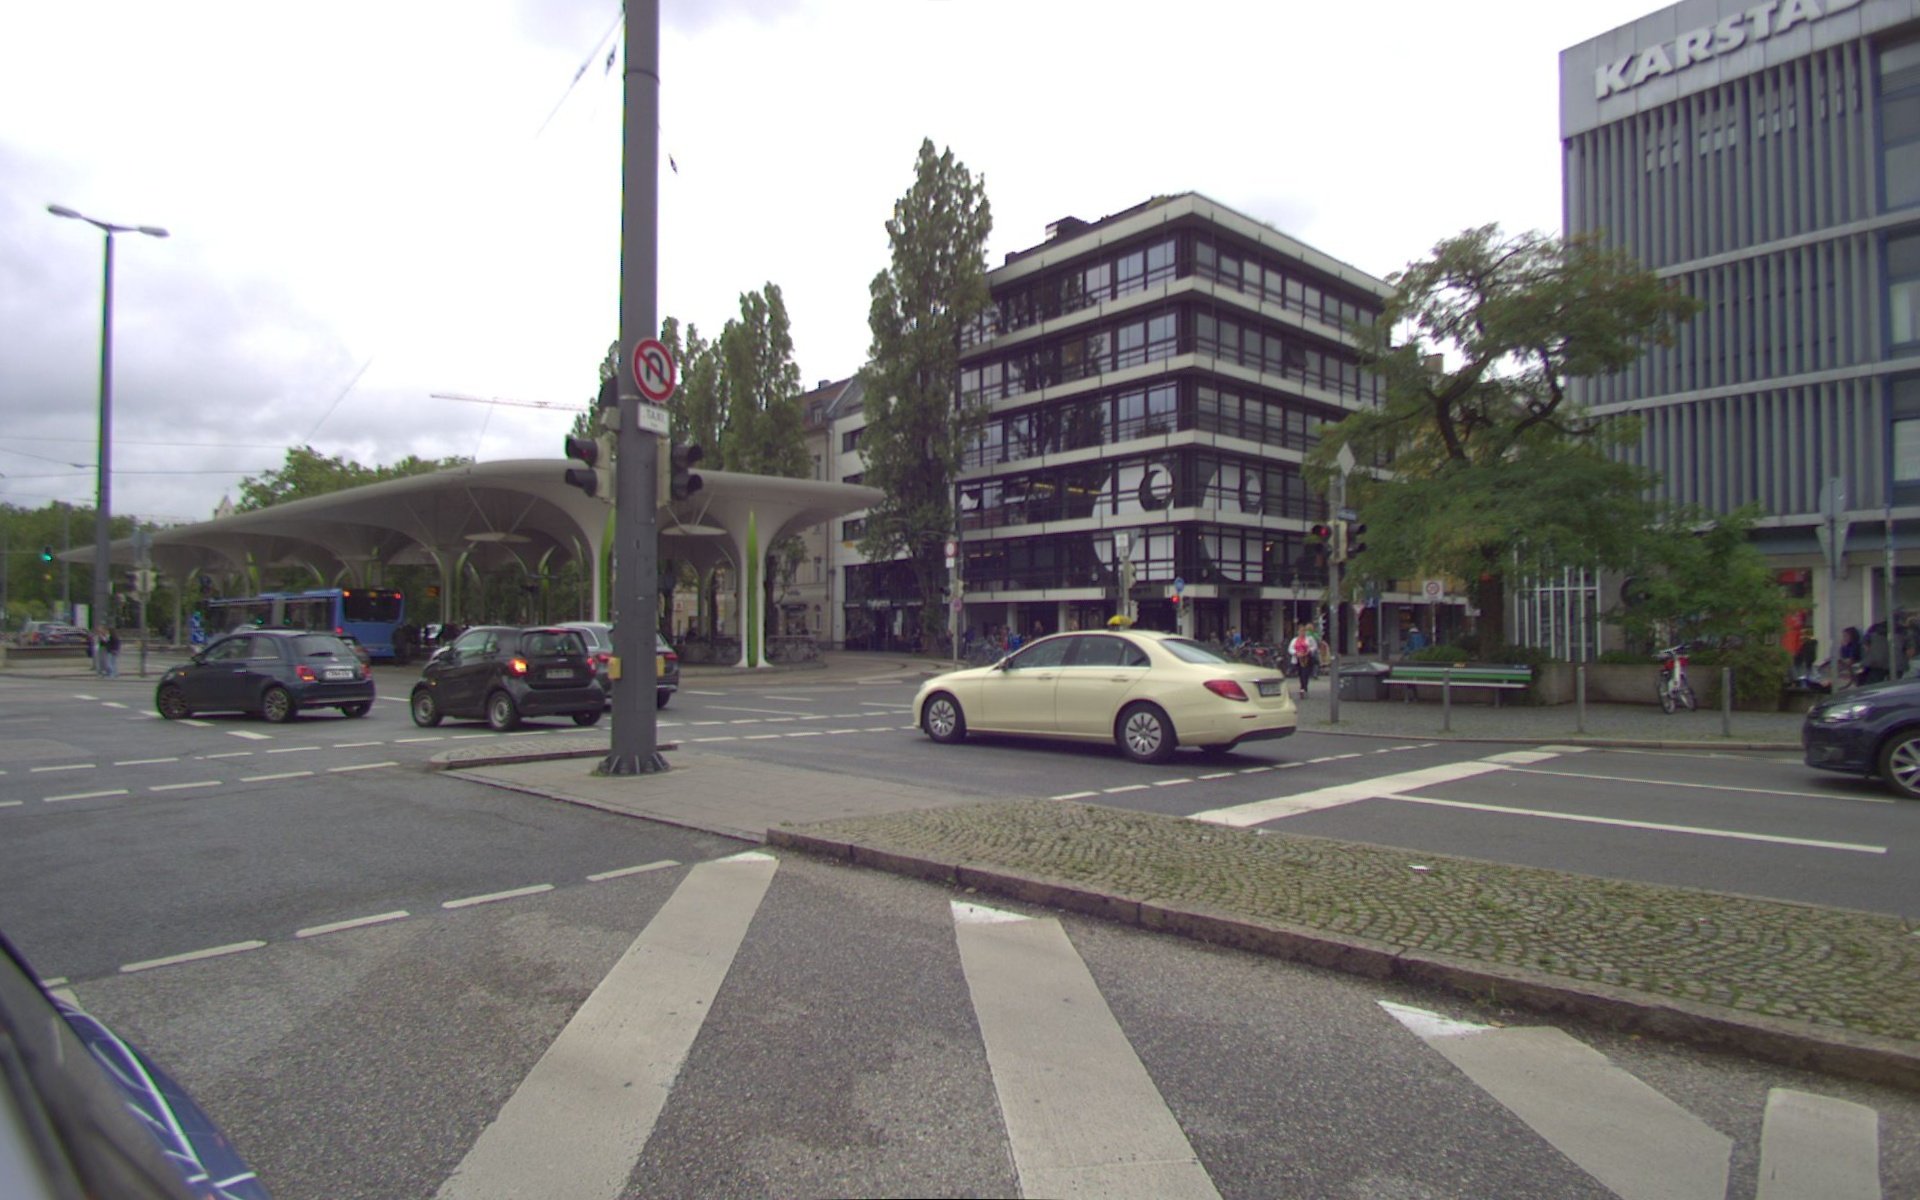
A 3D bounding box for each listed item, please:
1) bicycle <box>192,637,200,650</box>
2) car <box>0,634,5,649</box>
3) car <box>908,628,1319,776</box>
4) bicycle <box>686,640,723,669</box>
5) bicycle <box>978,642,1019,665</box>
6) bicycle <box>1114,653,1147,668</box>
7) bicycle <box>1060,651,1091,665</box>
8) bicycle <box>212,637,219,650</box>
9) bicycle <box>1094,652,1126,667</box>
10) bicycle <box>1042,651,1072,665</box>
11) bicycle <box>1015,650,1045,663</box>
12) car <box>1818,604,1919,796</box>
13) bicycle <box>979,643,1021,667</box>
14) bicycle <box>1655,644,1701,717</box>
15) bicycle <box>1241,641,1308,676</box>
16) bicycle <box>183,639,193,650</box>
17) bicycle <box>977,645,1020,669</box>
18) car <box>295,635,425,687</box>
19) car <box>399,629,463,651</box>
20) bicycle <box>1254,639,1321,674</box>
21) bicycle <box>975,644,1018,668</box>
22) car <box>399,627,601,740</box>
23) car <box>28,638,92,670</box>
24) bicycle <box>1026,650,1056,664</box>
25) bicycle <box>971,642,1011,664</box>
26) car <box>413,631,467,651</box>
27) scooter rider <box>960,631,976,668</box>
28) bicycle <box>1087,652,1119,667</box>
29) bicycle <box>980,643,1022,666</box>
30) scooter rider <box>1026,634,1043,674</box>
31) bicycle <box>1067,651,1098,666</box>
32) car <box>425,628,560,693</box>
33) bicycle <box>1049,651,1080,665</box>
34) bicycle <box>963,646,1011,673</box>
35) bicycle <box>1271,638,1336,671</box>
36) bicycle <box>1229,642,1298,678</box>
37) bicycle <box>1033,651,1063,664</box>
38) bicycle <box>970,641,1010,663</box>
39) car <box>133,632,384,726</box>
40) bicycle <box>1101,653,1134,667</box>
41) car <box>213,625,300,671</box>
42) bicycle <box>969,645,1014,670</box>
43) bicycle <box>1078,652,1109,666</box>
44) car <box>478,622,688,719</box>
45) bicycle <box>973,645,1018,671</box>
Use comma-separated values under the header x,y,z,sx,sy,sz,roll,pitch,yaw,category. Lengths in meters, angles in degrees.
x,y,z,sx,sy,sz,roll,pitch,yaw,category
-64.259,3.641,85.137,0.472,1.104,1.853,1,-2,-39,bicycle
-100.916,4.304,105.223,4.229,1.537,1.841,-2,-3,40,car
1.643,1.072,12.040,4.637,1.432,1.747,-2,-3,41,car
-10.609,2.251,41.971,0.633,1.133,2.169,1,-2,-40,bicycle
1.667,2.314,43.924,1.704,0.946,0.455,1,-1,-6,bicycle
7.634,2.701,45.292,1.607,0.637,0.430,1,-2,-35,bicycle
5.478,2.764,47.994,1.607,0.637,0.364,1,-2,-35,bicycle
-63.252,3.693,85.999,0.472,1.104,1.854,1,-2,-36,bicycle
6.868,2.723,46.273,1.607,0.637,0.364,1,-2,-35,bicycle
4.700,2.786,48.919,1.607,0.637,0.364,1,-2,-35,bicycle
3.494,2.821,50.410,1.607,0.637,0.364,1,-2,-35,bicycle
9.878,0.827,8.313,4.256,1.626,1.819,-2,-2,42,car
1.699,2.314,42.679,1.704,0.946,0.456,1,-1,-8,bicycle
12.047,1.323,16.961,0.373,1.120,1.556,-2,-2,44,bicycle
9.840,1.817,31.712,1.985,1.005,0.521,1,-1,41,bicycle
-64.686,3.727,84.794,0.473,0.901,1.852,1,-2,-42,bicycle
1.574,2.320,41.427,1.707,0.946,0.455,1,-1,0,bicycle
-17.757,1.763,29.887,4.162,1.422,1.974,-2,-2,39,car
-47.872,3.598,91.653,4.852,1.962,1.874,1,-2,-39,car
10.435,1.798,32.335,1.985,1.005,0.521,1,-1,41,bicycle
1.523,2.321,42.080,1.704,0.946,0.456,1,-1,-8,bicycle
-6.979,1.194,15.327,2.828,1.546,1.492,-2,-2,32,car
-44.425,2.650,49.912,4.277,1.520,1.648,-2,-4,39,car
4.009,2.806,49.787,1.607,0.637,0.364,1,-2,-35,bicycle
1.350,2.323,44.399,1.704,0.946,0.455,1,-1,-6,bicycle
-45.806,3.601,89.137,3.938,1.628,1.833,1,-2,-42,car
0.385,2.484,50.954,0.599,1.853,0.557,1,-2,-25,scooter rider
6.607,2.731,46.634,1.607,0.637,0.430,1,-2,-35,bicycle
1.757,2.312,43.221,1.704,0.946,0.456,1,-1,-8,bicycle
3.494,2.525,47.535,0.663,1.849,0.616,-1,-2,22,scooter rider
5.789,2.754,47.680,1.607,0.637,0.364,1,-2,-35,bicycle
-12.531,1.599,27.029,3.996,1.608,1.681,-2,-4,39,car
5.016,2.777,48.471,1.607,0.637,0.364,1,-2,-35,bicycle
1.005,2.220,37.699,1.718,0.946,0.452,0,-1,20,bicycle
11.262,1.772,33.225,1.985,1.005,0.521,1,-1,41,bicycle
9.318,1.834,31.138,1.985,1.005,0.521,1,-1,41,bicycle
4.298,2.798,49.392,1.607,0.637,0.364,1,-2,-35,bicycle
1.340,2.322,45.117,1.702,0.946,0.456,1,-1,-15,bicycle
-11.704,1.288,16.948,3.506,1.457,1.542,-1,-3,15,car
7.136,2.715,45.884,1.607,0.637,0.430,1,-2,-35,bicycle
-26.701,1.793,38.357,3.998,1.674,1.764,-2,-2,41,car
1.246,2.277,40.306,1.718,0.946,0.452,0,-1,20,bicycle
6.204,2.742,47.101,1.607,0.637,0.364,1,-2,-35,bicycle
-7.452,1.303,19.773,4.727,1.683,1.726,-2,-2,39,car
1.404,2.273,39.761,1.719,0.946,0.452,0,-1,22,bicycle
